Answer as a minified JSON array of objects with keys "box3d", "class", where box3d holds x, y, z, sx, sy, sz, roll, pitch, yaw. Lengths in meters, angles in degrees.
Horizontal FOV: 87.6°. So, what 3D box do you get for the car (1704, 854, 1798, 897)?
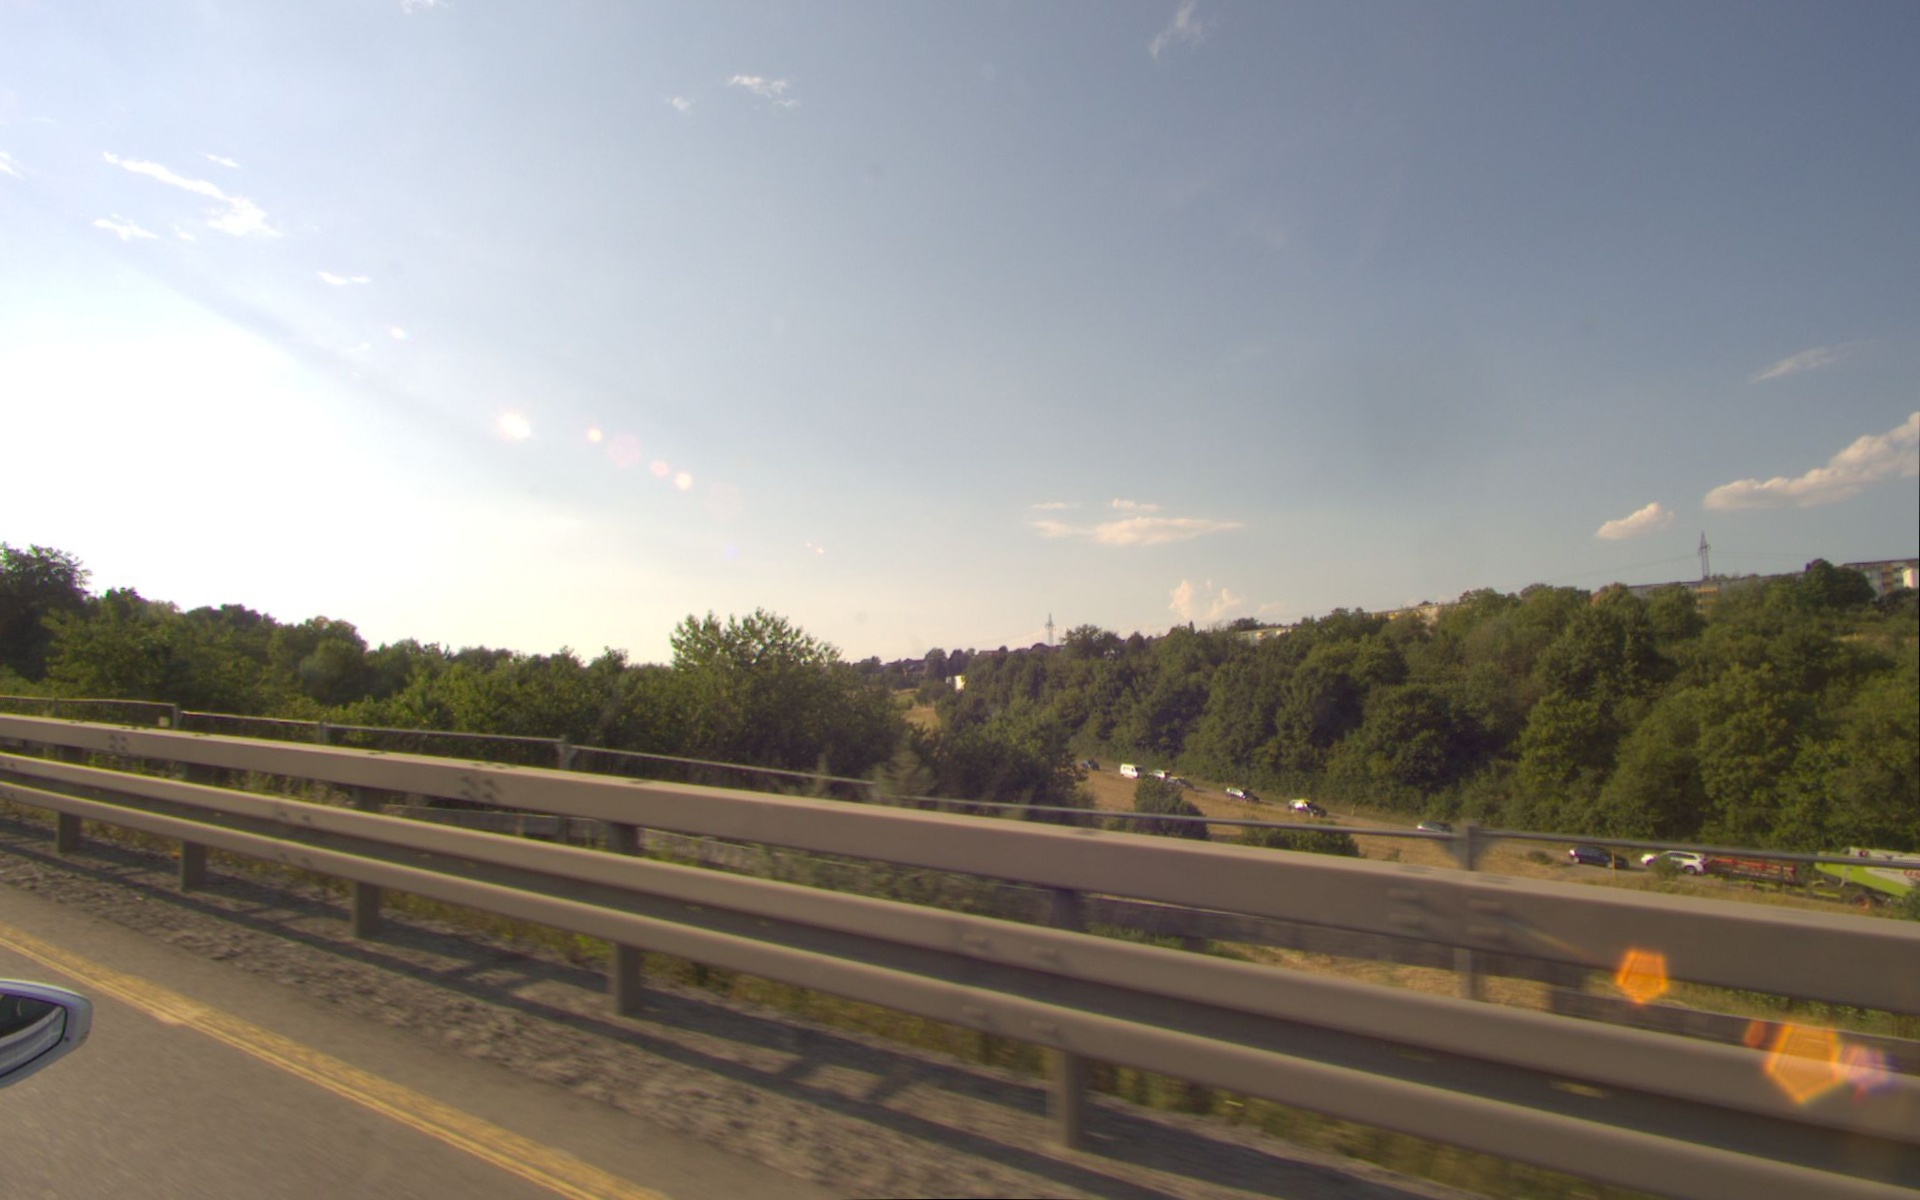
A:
[{"box3d":[57.212,19.892,72.500,1.683,1.858,5.105,0,-2,-30],"class":"car"}]
